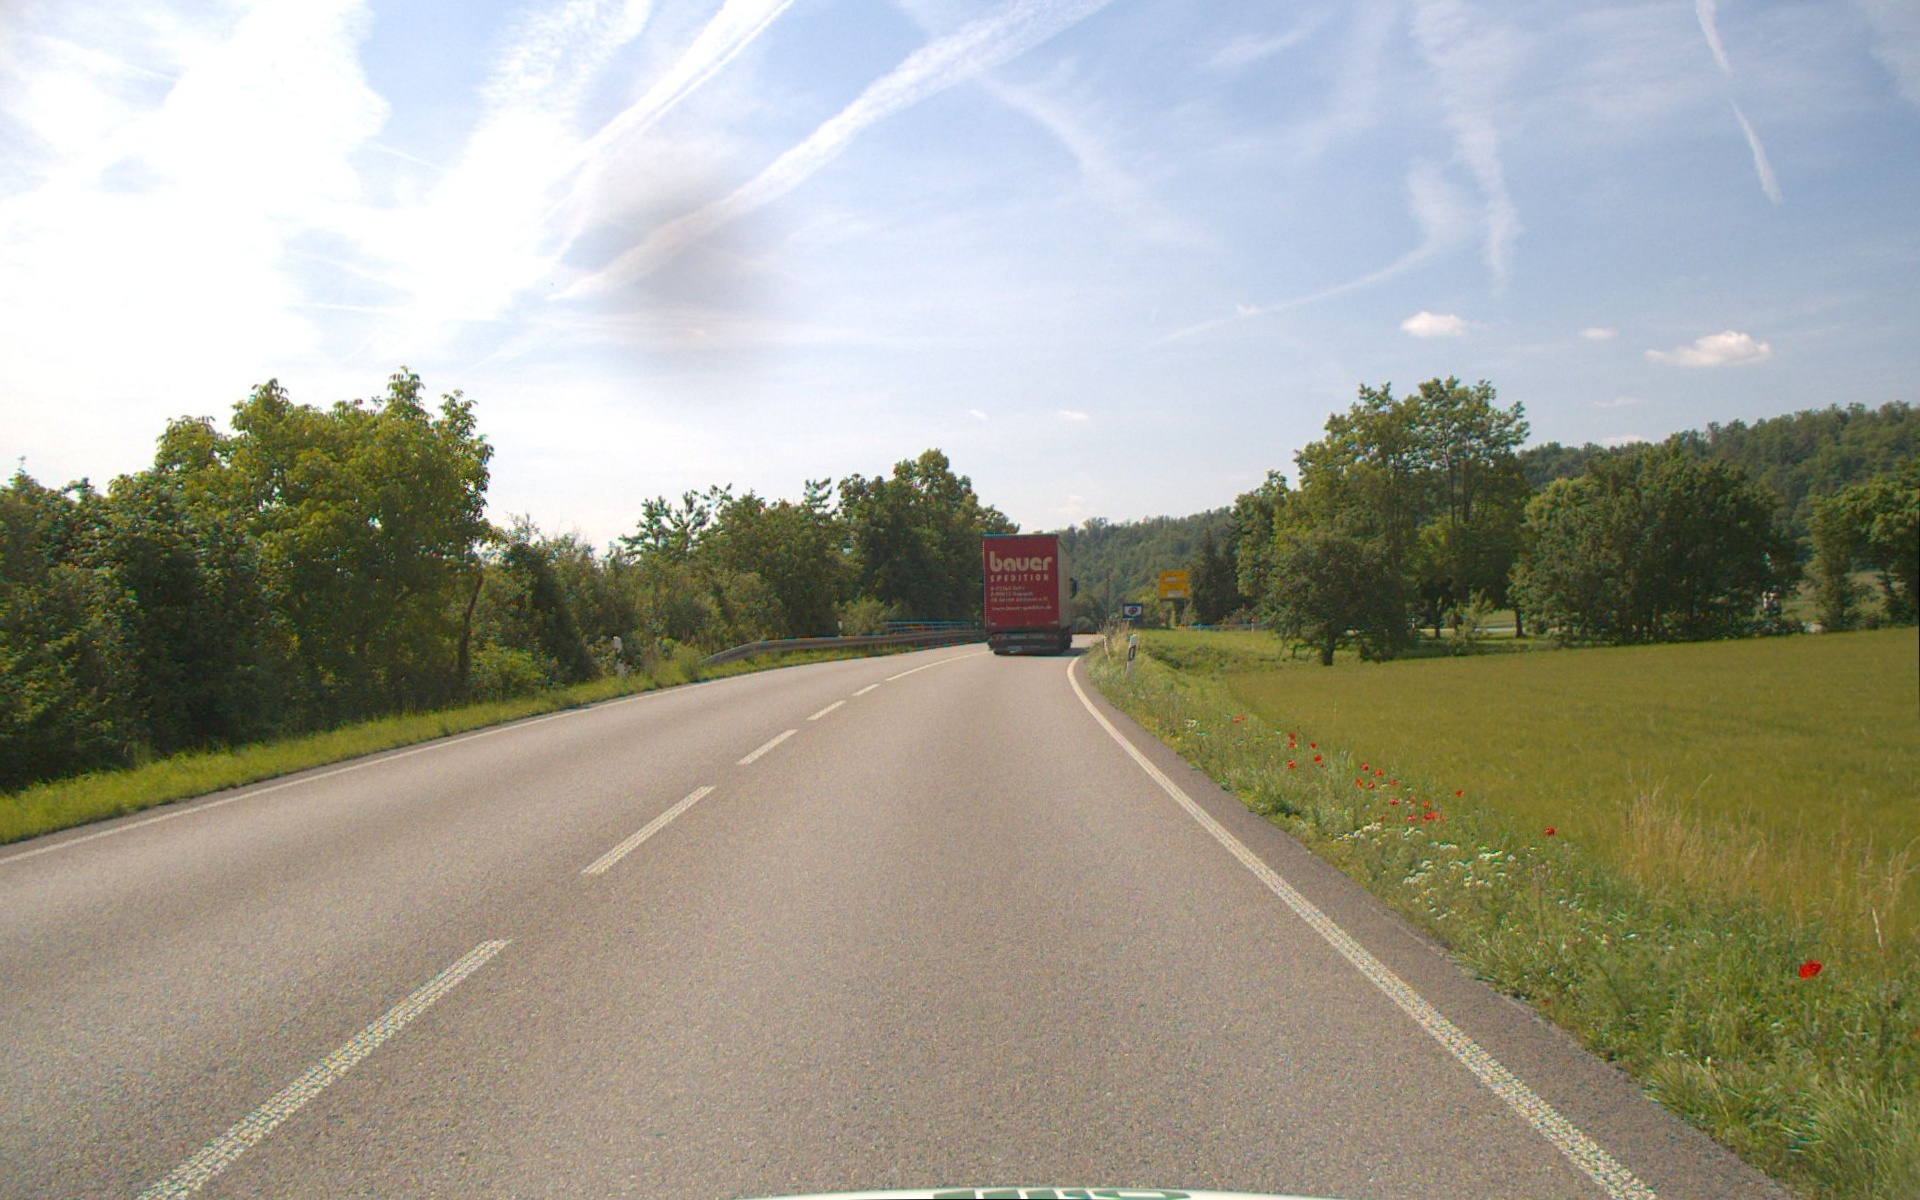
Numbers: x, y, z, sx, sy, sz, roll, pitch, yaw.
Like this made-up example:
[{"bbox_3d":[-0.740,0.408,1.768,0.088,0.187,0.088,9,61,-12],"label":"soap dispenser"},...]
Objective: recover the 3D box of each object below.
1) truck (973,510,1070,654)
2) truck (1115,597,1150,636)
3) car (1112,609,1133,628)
[{"bbox_3d":[2.481,-0.559,61.245,3.105,4.706,13.549,0,0,4],"label":"truck"},{"bbox_3d":[21.506,2.082,205.396,3.822,4.447,13.300,1,-2,8],"label":"truck"},{"bbox_3d":[17.271,1.956,175.424,1.951,1.842,4.002,1,-2,9],"label":"car"}]
